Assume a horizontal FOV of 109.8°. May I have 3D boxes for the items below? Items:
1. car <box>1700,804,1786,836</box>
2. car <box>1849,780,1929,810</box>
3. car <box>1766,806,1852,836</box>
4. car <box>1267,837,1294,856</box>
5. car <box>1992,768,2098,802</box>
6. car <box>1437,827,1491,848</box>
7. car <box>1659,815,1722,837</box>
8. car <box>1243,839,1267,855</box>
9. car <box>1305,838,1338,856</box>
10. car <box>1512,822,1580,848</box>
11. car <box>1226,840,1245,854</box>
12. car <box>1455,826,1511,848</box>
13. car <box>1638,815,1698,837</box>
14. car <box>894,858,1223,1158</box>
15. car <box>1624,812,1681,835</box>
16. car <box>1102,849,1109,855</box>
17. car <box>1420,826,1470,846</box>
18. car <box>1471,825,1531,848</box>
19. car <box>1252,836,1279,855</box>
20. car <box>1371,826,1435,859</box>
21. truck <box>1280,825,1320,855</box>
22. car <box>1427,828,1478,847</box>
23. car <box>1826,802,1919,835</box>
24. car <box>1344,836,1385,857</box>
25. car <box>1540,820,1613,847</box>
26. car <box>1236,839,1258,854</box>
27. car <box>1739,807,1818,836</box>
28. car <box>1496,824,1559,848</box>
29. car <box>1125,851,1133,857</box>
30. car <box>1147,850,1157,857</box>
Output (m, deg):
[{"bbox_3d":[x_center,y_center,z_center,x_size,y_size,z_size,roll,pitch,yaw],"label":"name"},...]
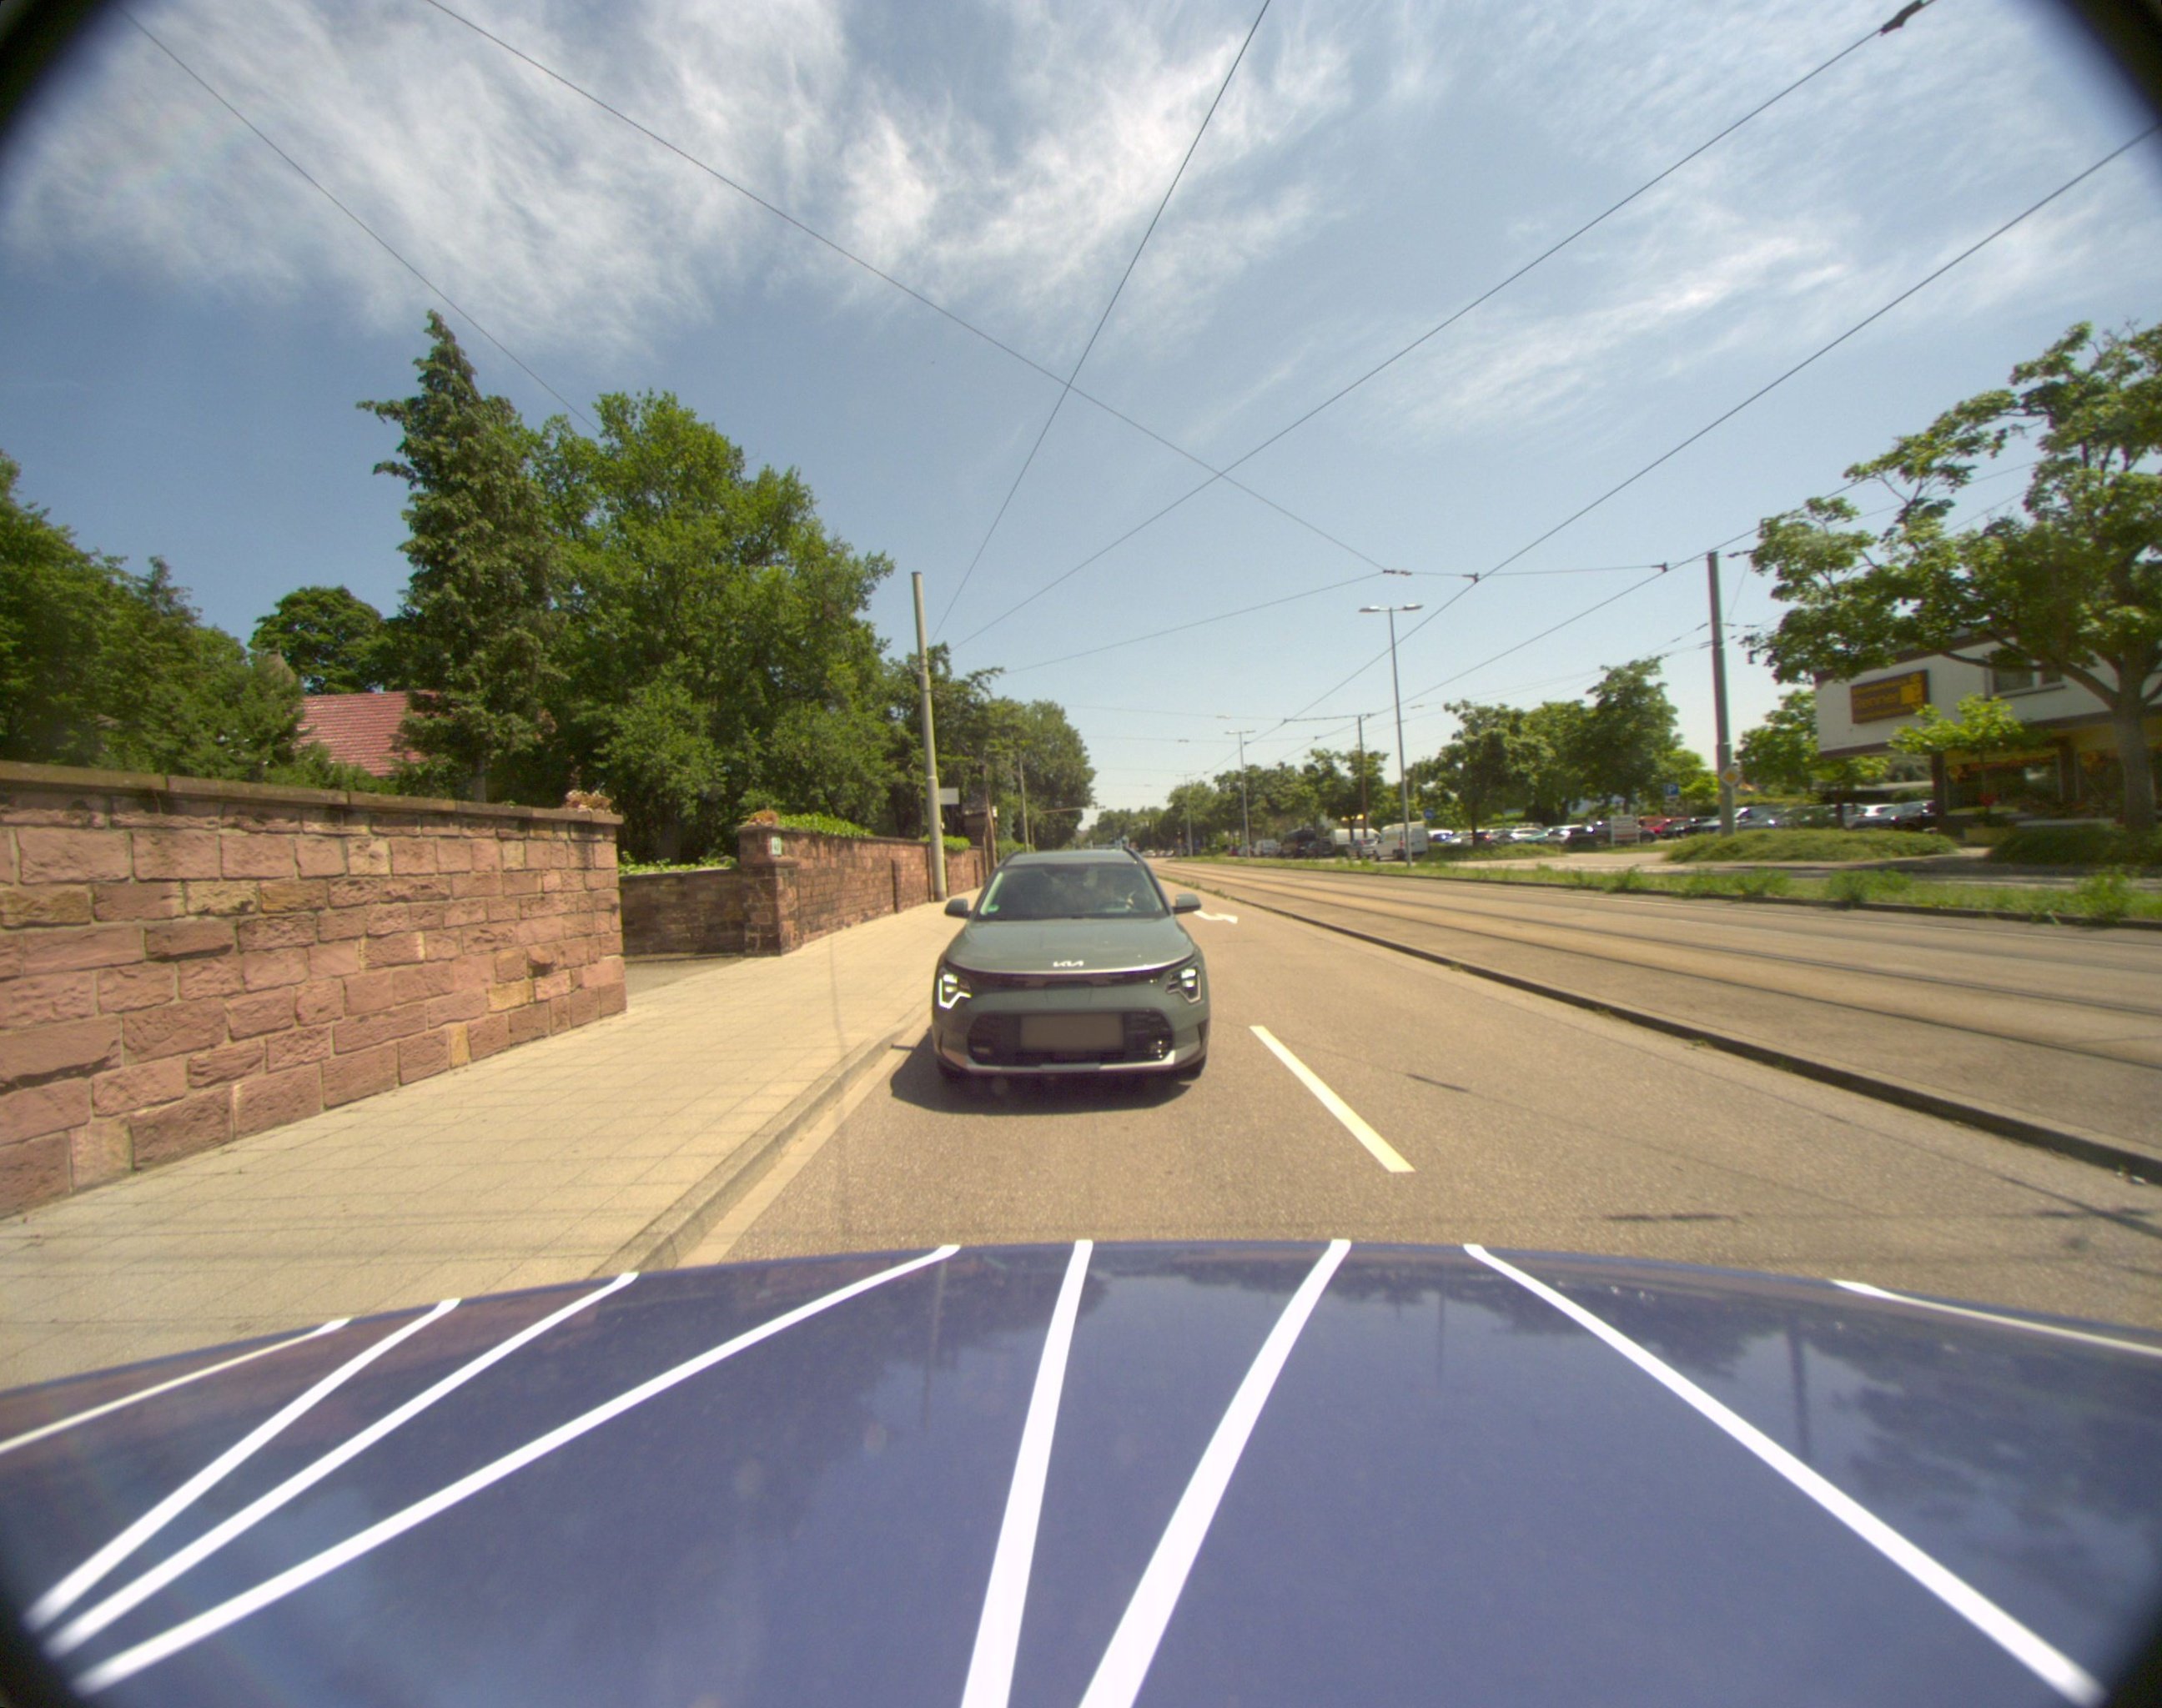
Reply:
[{"bbox_3d":[43.096,-2.180,49.500,3.998,1.774,1.813,-4,1,-2],"label":"car"},{"bbox_3d":[63.454,-4.615,59.742,3.996,2.002,2.000,-3,1,2],"label":"car"},{"bbox_3d":[42.716,-1.927,44.633,3.492,1.528,1.624,-4,1,-2],"label":"car"},{"bbox_3d":[20.637,-0.749,78.777,1.681,1.783,3.868,-3,0,0],"label":"car"},{"bbox_3d":[61.221,-4.356,48.310,3.996,1.761,2.000,-3,1,2],"label":"car"},{"bbox_3d":[30.293,-1.308,60.170,3.414,1.386,1.603,-4,1,-5],"label":"car"},{"bbox_3d":[43.833,-2.015,54.657,3.355,1.381,1.506,-4,1,-2],"label":"car"},{"bbox_3d":[20.646,-0.859,90.287,1.681,1.783,4.202,-3,0,0],"label":"car"},{"bbox_3d":[20.267,-0.590,64.254,1.675,1.378,3.669,-3,0,2],"label":"car"},{"bbox_3d":[30.358,-1.250,49.664,3.414,1.482,1.598,-4,1,-5],"label":"car"},{"bbox_3d":[20.509,-0.953,101.188,1.681,1.693,3.823,-3,0,0],"label":"car"},{"bbox_3d":[30.549,-1.291,57.763,3.414,1.386,1.603,-4,1,-5],"label":"car"},{"bbox_3d":[44.220,-2.091,57.233,3.355,1.450,1.506,-4,1,-2],"label":"car"},{"bbox_3d":[-0.098,0.880,6.365,1.789,1.561,4.184,-2,1,1],"label":"car"},{"bbox_3d":[44.970,-2.410,59.803,3.355,1.552,1.506,-4,1,-2],"label":"car"},{"bbox_3d":[7.675,-0.700,236.341,1.998,1.652,4.000,-3,0,0],"label":"car"},{"bbox_3d":[31.400,-1.555,65.584,3.414,1.497,1.603,-4,1,-5],"label":"car"},{"bbox_3d":[30.133,-1.239,54.540,3.414,1.386,1.603,-4,1,-5],"label":"car"},{"bbox_3d":[20.441,-0.884,84.283,1.681,1.963,4.509,-3,0,0],"label":"car"},{"bbox_3d":[20.202,-0.712,47.834,1.998,1.872,4.661,-3,0,1],"label":"car"},{"bbox_3d":[20.231,-1.261,70.320,2.225,2.526,4.929,-3,0,1],"label":"truck"},{"bbox_3d":[30.818,-1.360,63.064,3.414,1.386,1.603,-4,1,-5],"label":"car"},{"bbox_3d":[43.697,-1.961,41.978,3.492,1.528,1.624,-4,1,-2],"label":"car"},{"bbox_3d":[20.184,-0.535,54.182,1.675,1.378,3.569,-3,0,2],"label":"car"},{"bbox_3d":[30.840,-1.258,47.356,3.414,1.482,1.793,-4,0,-5],"label":"car"},{"bbox_3d":[20.625,-0.885,94.659,1.681,1.783,4.202,-3,0,0],"label":"car"},{"bbox_3d":[43.267,-1.985,47.164,3.492,1.528,1.534,-4,1,-2],"label":"car"},{"bbox_3d":[30.701,-1.236,52.280,3.414,1.386,1.603,-4,1,-5],"label":"car"},{"bbox_3d":[14.671,-0.114,231.176,1.998,1.652,4.000,-4,0,0],"label":"car"},{"bbox_3d":[16.114,-0.128,172.733,1.737,1.469,4.000,-4,0,0],"label":"car"}]
